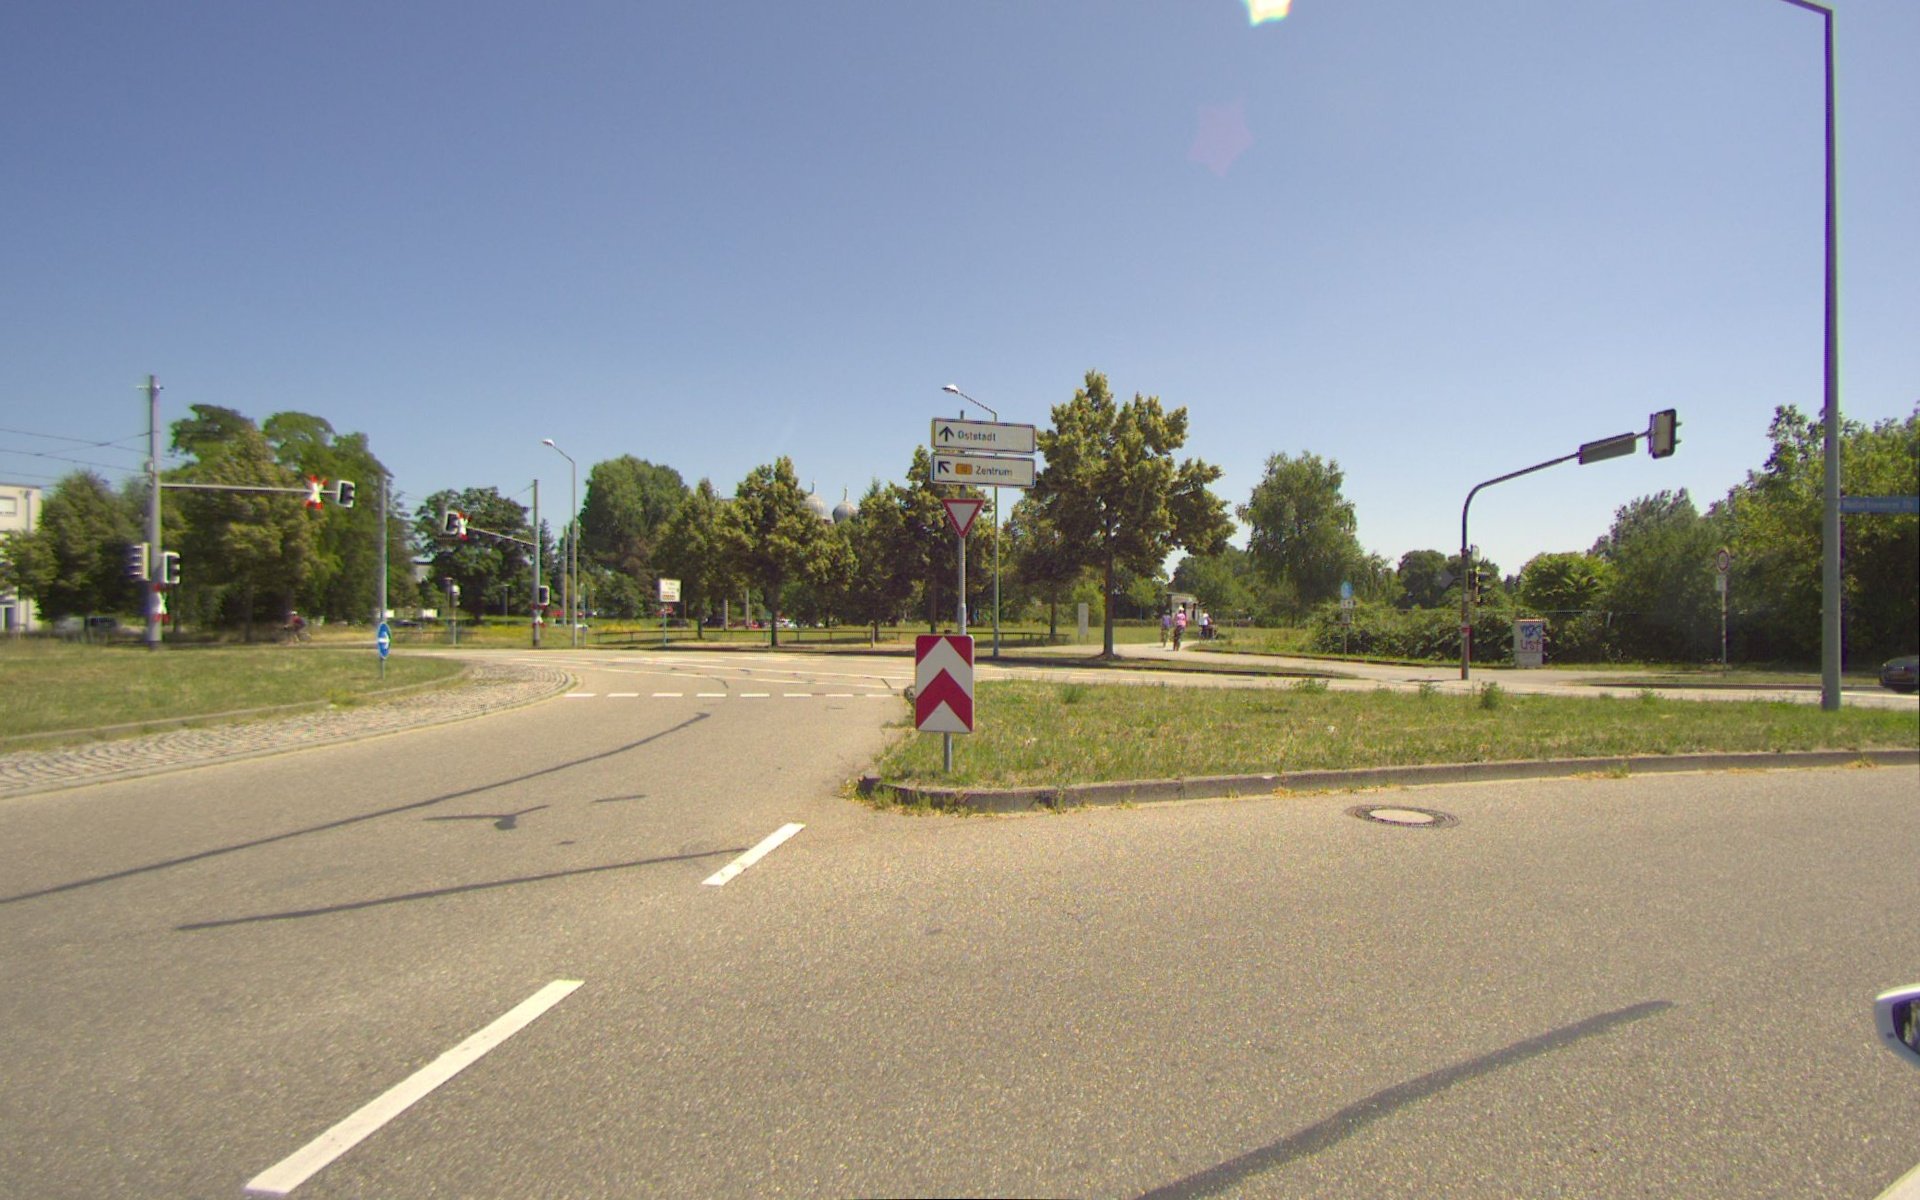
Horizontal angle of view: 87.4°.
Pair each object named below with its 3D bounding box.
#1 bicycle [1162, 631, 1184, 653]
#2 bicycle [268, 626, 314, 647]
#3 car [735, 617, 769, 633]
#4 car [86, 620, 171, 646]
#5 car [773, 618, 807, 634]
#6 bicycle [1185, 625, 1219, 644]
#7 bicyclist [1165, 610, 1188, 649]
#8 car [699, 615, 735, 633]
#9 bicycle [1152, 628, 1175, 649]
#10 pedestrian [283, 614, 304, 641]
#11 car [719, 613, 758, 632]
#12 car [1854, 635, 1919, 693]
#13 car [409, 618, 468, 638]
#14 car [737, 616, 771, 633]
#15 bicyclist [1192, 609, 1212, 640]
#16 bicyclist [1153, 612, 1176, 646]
[{"bbox_3d":[9.224,1.819,43.534,0.880,0.912,2.228,1,-2,13],"label":"bicycle"},{"bbox_3d":[-37.516,2.054,56.369,2.029,1.129,0.726,2,-2,-23],"label":"bicycle"},{"bbox_3d":[-26.302,3.183,127.295,3.923,2.040,1.999,1,-2,-4],"label":"car"},{"bbox_3d":[-55.737,2.215,67.360,1.967,1.706,3.988,-1,-3,35],"label":"car"},{"bbox_3d":[-22.361,3.440,132.145,3.920,2.040,2.001,1,-2,3],"label":"car"},{"bbox_3d":[12.813,1.830,53.061,0.729,0.924,2.920,-1,-3,35],"label":"bicycle"},{"bbox_3d":[9.376,1.278,43.477,0.940,1.631,1.187,0,-2,13],"label":"bicyclist"},{"bbox_3d":[-29.093,2.853,120.329,3.923,2.040,1.999,1,-2,-4],"label":"car"},{"bbox_3d":[9.677,1.813,47.747,0.881,0.912,1.762,1,1,18],"label":"bicycle"},{"bbox_3d":[-37.424,1.551,56.406,0.806,1.469,0.706,2,-2,-22],"label":"pedestrian"},{"bbox_3d":[-24.791,2.512,112.494,3.923,2.040,1.999,1,-2,-4],"label":"car"},{"bbox_3d":[24.085,1.507,23.733,4.321,1.287,1.864,0,-1,-1],"label":"car"},{"bbox_3d":[-44.207,2.387,85.267,3.926,1.594,1.998,1,-2,-7],"label":"car"},{"bbox_3d":[-25.622,3.091,124.891,3.923,2.040,1.999,1,-2,-4],"label":"car"},{"bbox_3d":[12.806,1.298,53.115,0.744,1.635,0.975,-1,-3,35],"label":"bicyclist"},{"bbox_3d":[9.747,1.358,47.831,0.941,1.552,1.186,0,0,18],"label":"bicyclist"}]
